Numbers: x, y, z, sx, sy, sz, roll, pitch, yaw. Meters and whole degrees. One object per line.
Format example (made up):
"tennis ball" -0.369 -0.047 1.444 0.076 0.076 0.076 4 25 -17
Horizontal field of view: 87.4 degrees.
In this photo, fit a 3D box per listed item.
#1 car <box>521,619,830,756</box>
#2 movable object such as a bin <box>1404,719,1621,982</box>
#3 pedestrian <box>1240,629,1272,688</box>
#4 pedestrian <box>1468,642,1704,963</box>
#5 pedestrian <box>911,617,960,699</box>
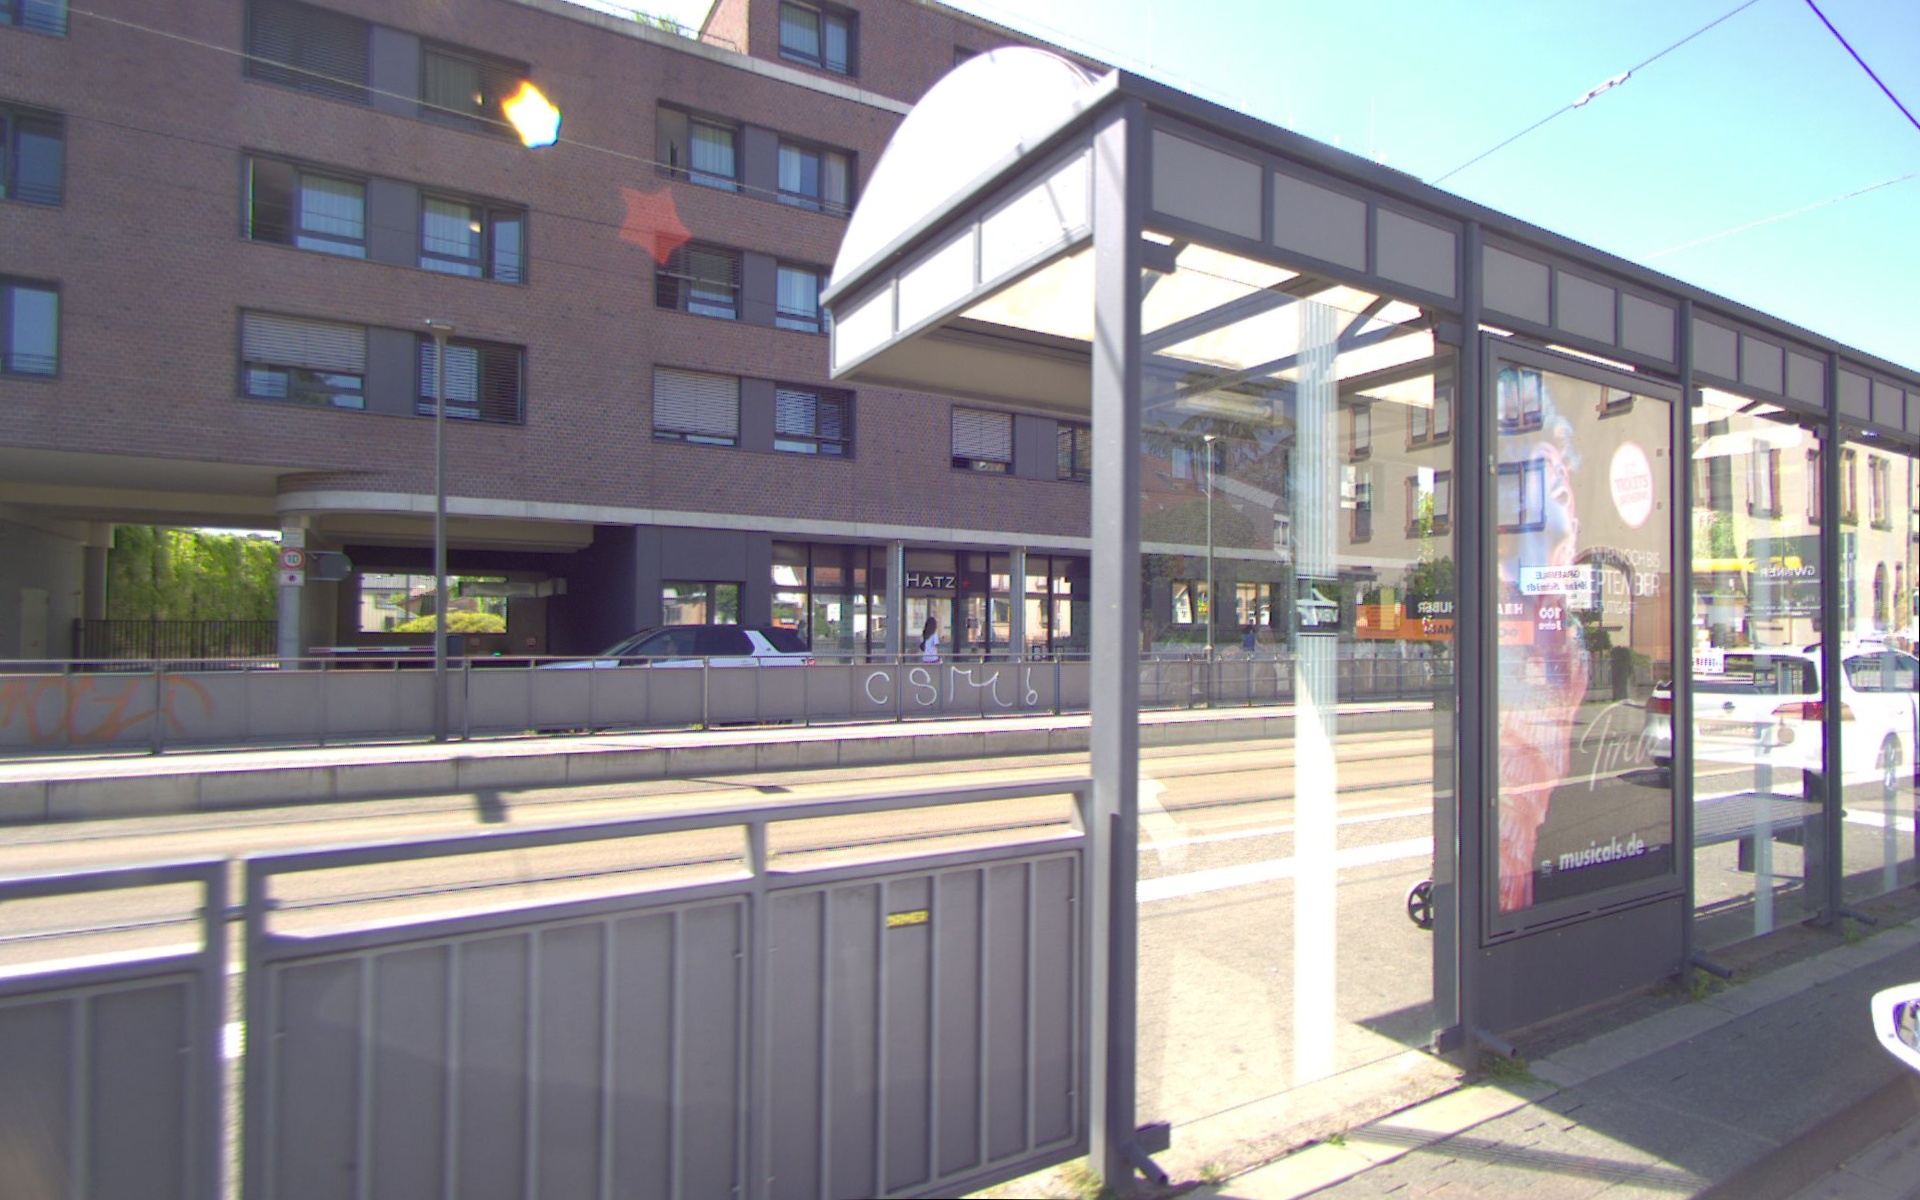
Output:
"car" -4.204 1.199 14.985 4.139 1.752 1.792 1 0 -30
"movable object such as a bin" 2.267 0.982 4.153 0.483 0.912 0.626 1 -2 -30
"pedestrian" 8.540 1.674 28.981 0.692 1.686 0.578 1 -2 -31
"pedestrian" 2.769 0.824 4.464 0.701 1.271 0.626 1 -2 -31
"pedestrian" -0.577 1.311 23.125 0.828 1.843 0.841 1 -1 -29
